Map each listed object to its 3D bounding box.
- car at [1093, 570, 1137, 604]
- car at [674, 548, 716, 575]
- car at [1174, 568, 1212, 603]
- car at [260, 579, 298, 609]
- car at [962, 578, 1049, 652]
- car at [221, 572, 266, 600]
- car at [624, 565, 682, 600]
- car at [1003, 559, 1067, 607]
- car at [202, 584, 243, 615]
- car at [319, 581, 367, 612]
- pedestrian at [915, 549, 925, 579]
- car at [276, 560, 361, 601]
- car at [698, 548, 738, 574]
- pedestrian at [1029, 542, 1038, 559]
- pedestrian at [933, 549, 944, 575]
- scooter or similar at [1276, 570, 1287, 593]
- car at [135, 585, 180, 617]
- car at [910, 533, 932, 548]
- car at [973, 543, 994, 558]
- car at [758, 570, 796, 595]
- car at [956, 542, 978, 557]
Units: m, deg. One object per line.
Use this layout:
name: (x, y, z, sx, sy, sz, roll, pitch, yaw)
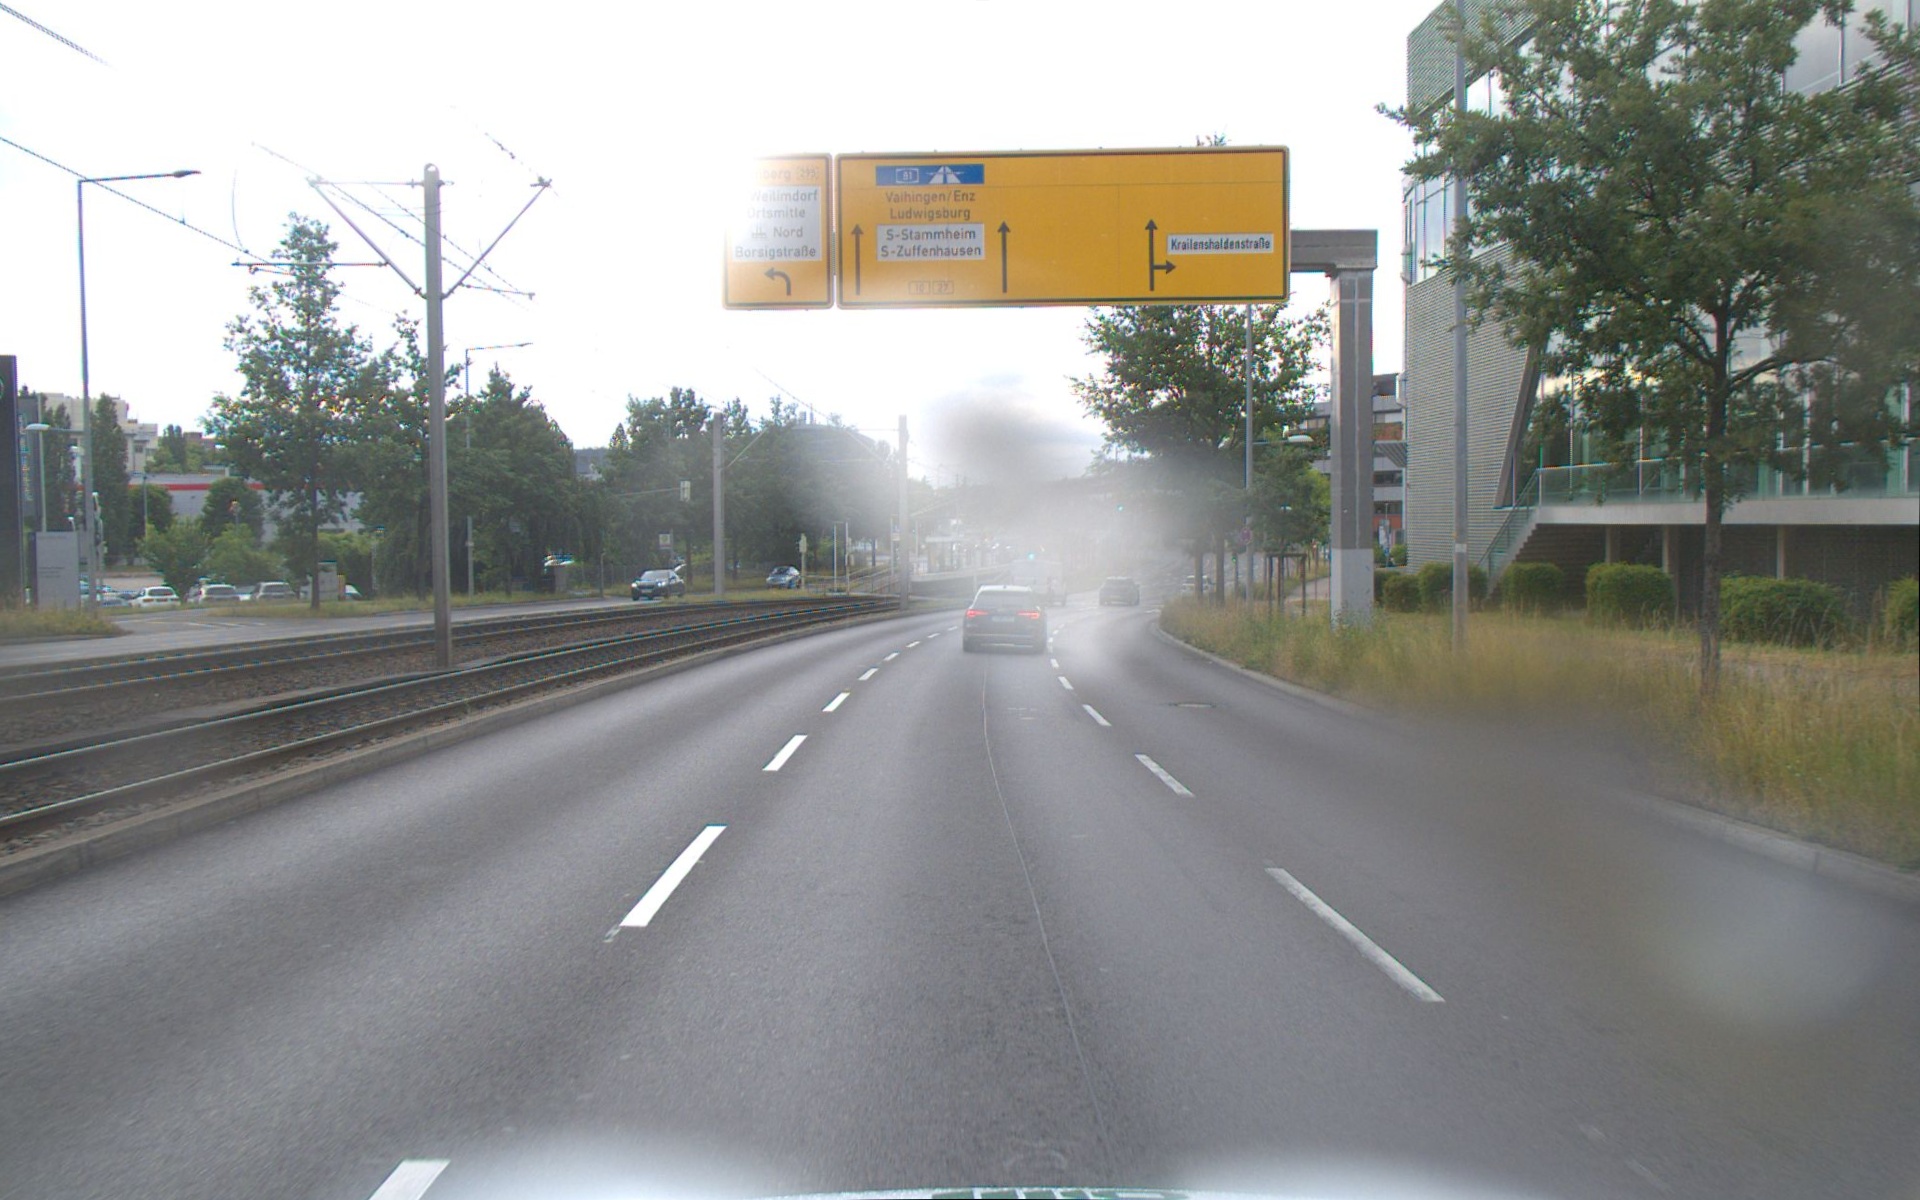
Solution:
car: (8.147, -0.669, 86.822, 1.978, 1.651, 4.003, 1, -1, 10)
car: (-21.425, -3.070, 133.694, 1.951, 2.049, 4.003, 1, 0, 13)
car: (13.618, -0.864, 96.460, 1.978, 1.800, 4.005, 1, 3, 11)
car: (-35.522, -0.315, 86.306, 1.727, 1.520, 3.973, 1, -1, -22)
car: (0.959, 0.285, 36.992, 1.728, 1.488, 4.626, 2, 1, -1)
car: (-41.637, -0.797, 96.091, 1.972, 1.536, 3.960, 2, -1, -30)
car: (-14.862, -0.887, 80.381, 1.844, 1.547, 4.404, -3, 1, 1)
car: (3.757, -0.819, 81.734, 2.457, 2.215, 5.153, 1, -1, 10)
car: (-37.763, -0.023, 84.769, 1.727, 1.520, 3.973, 1, -1, -22)
car: (-32.725, -0.195, 87.713, 1.970, 1.536, 3.966, 2, -1, -27)
pedestrian: (-2.628, -2.372, 109.673, 0.537, 1.987, 0.664, 1, -1, 7)
car: (-28.185, -0.839, 72.807, 1.952, 1.679, 4.002, 1, 0, 3)
car: (-20.277, -3.292, 138.896, 1.951, 2.049, 4.003, 1, 0, 13)
pedestrian: (7.879, -5.287, 177.414, 0.736, 1.781, 0.764, 1, -1, 11)
pedestrian: (-1.639, -2.872, 125.272, 0.623, 1.886, 0.751, 1, -1, 10)
scooter or similar: (18.175, -1.049, 93.511, 0.448, 1.285, 1.338, -2, 1, 8)
car: (-40.729, 0.048, 83.997, 1.727, 1.520, 3.973, 1, -1, -22)
car: (-5.704, -8.661, 240.369, 1.964, 2.049, 3.976, 1, -1, -20)
car: (3.547, -7.451, 249.137, 1.964, 2.049, 3.976, 1, -1, -20)
car: (-13.350, -1.303, 120.710, 1.951, 1.709, 4.003, 1, 1, 6)
car: (1.048, -7.506, 247.801, 1.964, 2.049, 3.976, 1, -1, -20)
